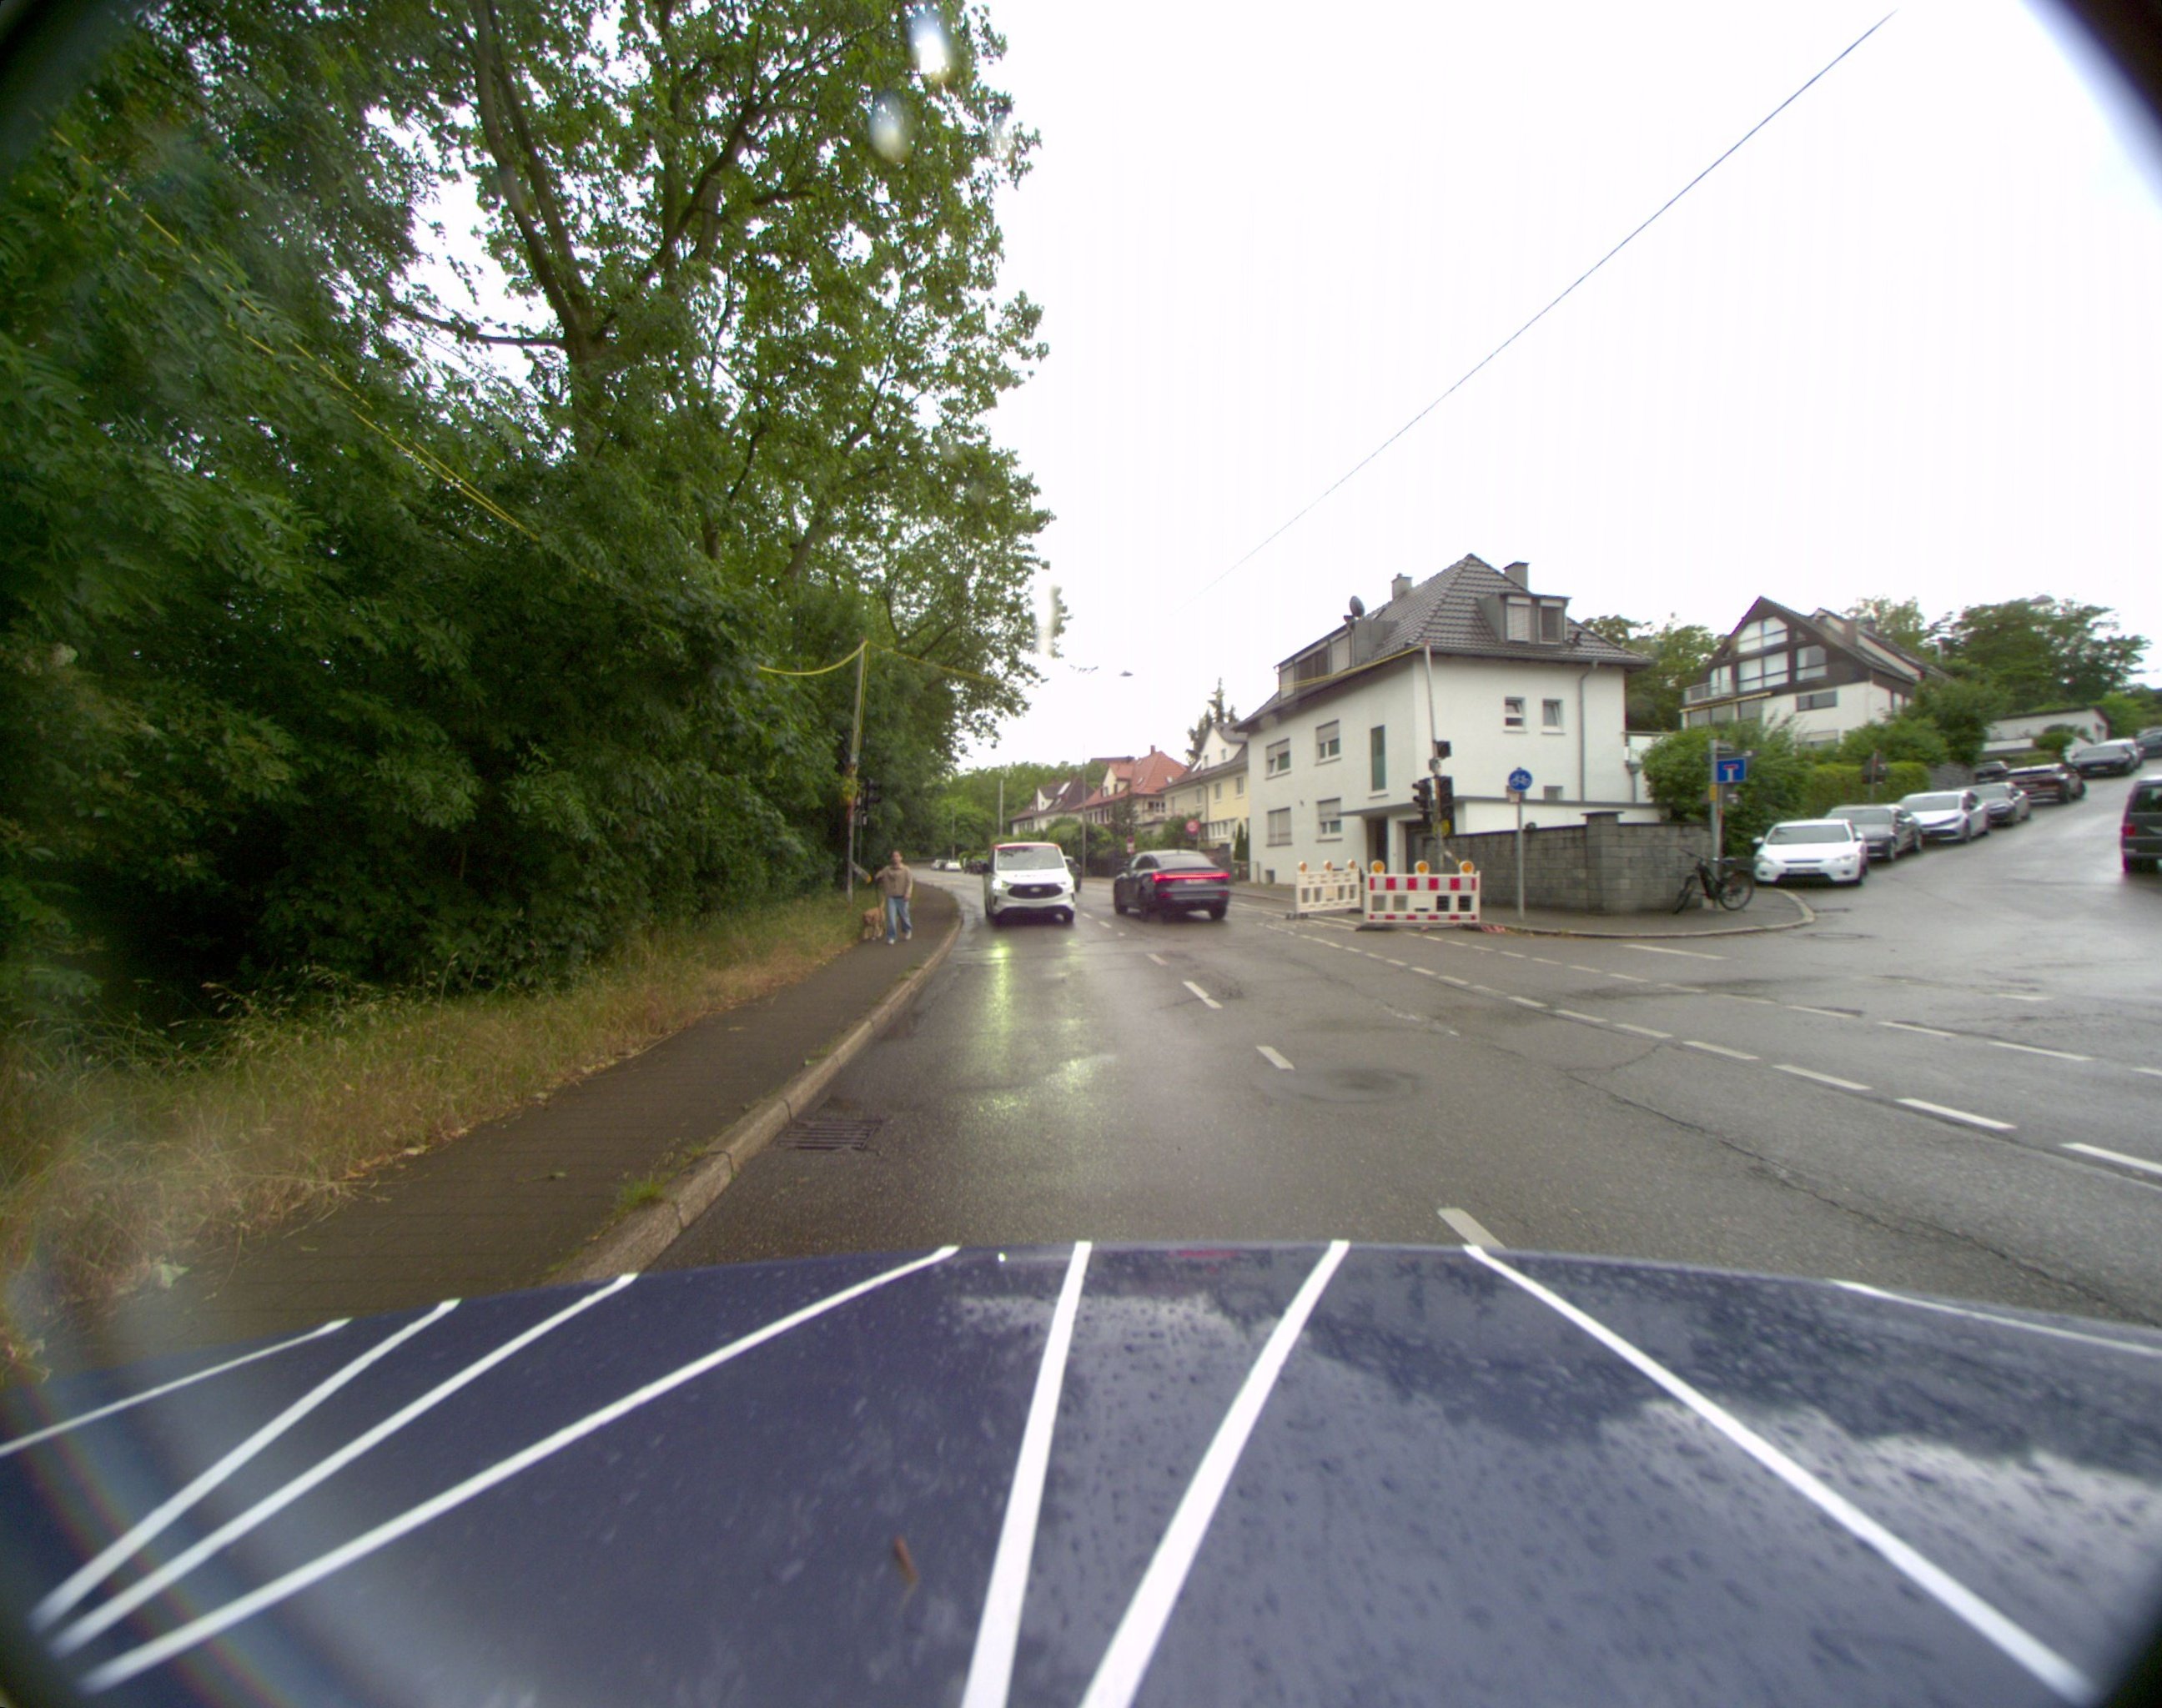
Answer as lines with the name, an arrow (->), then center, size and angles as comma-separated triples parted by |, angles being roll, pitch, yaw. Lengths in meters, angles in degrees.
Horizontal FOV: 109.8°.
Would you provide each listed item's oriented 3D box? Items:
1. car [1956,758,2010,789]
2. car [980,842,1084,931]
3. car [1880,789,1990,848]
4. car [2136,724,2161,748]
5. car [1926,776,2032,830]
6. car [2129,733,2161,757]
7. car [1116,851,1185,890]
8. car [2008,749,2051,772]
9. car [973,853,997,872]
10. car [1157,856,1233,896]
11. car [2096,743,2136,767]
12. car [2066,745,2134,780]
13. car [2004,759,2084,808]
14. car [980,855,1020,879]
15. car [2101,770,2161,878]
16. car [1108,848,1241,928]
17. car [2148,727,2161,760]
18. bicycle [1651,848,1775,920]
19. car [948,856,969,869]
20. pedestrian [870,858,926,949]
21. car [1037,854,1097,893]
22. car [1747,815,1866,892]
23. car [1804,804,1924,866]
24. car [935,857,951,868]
car -> 52.870, -4.659, 44.526 | 4.020, 1.545, 1.812 | -3, 1, -37
car -> -1.417, 0.727, 19.543 | 2.103, 1.908, 5.086 | -2, 0, -9
car -> 27.272, -1.158, 24.241 | 3.951, 1.462, 1.755 | -7, 3, -33
car -> 81.121, -8.881, 55.967 | 1.754, 1.508, 3.961 | -3, 1, -35
car -> 32.330, -1.838, 27.343 | 4.111, 1.430, 1.921 | -9, 4, -33
car -> 68.328, -6.949, 47.706 | 1.286, 1.310, 2.945 | -3, 1, -36
car -> 3.133, 0.729, 35.044 | 1.798, 1.630, 4.150 | -1, 0, -15
car -> 57.242, -5.648, 45.874 | 3.656, 1.205, 1.577 | -7, 3, -38
car -> -9.604, 0.838, 75.966 | 1.882, 1.814, 4.121 | -2, 0, -14
car -> 4.386, 0.815, 29.916 | 1.787, 1.423, 3.844 | -2, 0, -10
car -> 59.840, -5.752, 43.906 | 2.988, 1.191, 1.305 | -6, 3, -35
car -> 54.818, -4.889, 40.849 | 4.034, 1.511, 1.786 | -2, 0, -31
car -> 40.722, -2.990, 32.121 | 4.004, 1.617, 1.638 | -8, 4, -32
car -> -5.712, 0.871, 53.195 | 1.860, 1.518, 4.813 | -3, 0, -16
car -> 23.886, -0.756, 16.271 | 4.497, 2.003, 1.996 | -7, 3, -31
car -> 2.128, 0.734, 18.818 | 2.000, 1.664, 4.684 | -2, 0, -9
car -> 72.467, -7.460, 48.990 | 2.003, 2.000, 3.993 | -2, -4, -32
bicycle -> 11.590, 0.534, 13.945 | 2.006, 1.233, 0.510 | -2, 3, -8
car -> -15.230, 1.067, 94.187 | 2.071, 1.477, 4.556 | -2, 0, -16
pedestrian -> -3.132, 0.832, 13.068 | 0.735, 1.490, 0.785 | -1, 1, -1
car -> -0.726, 0.858, 35.602 | 1.873, 1.612, 4.159 | -2, 0, -13
car -> 17.779, -0.052, 18.547 | 4.126, 1.455, 1.849 | -7, 4, -43
car -> 22.467, -0.562, 21.768 | 3.910, 1.380, 1.719 | -7, 3, -34
car -> -18.737, 1.127, 103.023 | 1.691, 1.419, 3.770 | -2, 0, -17
